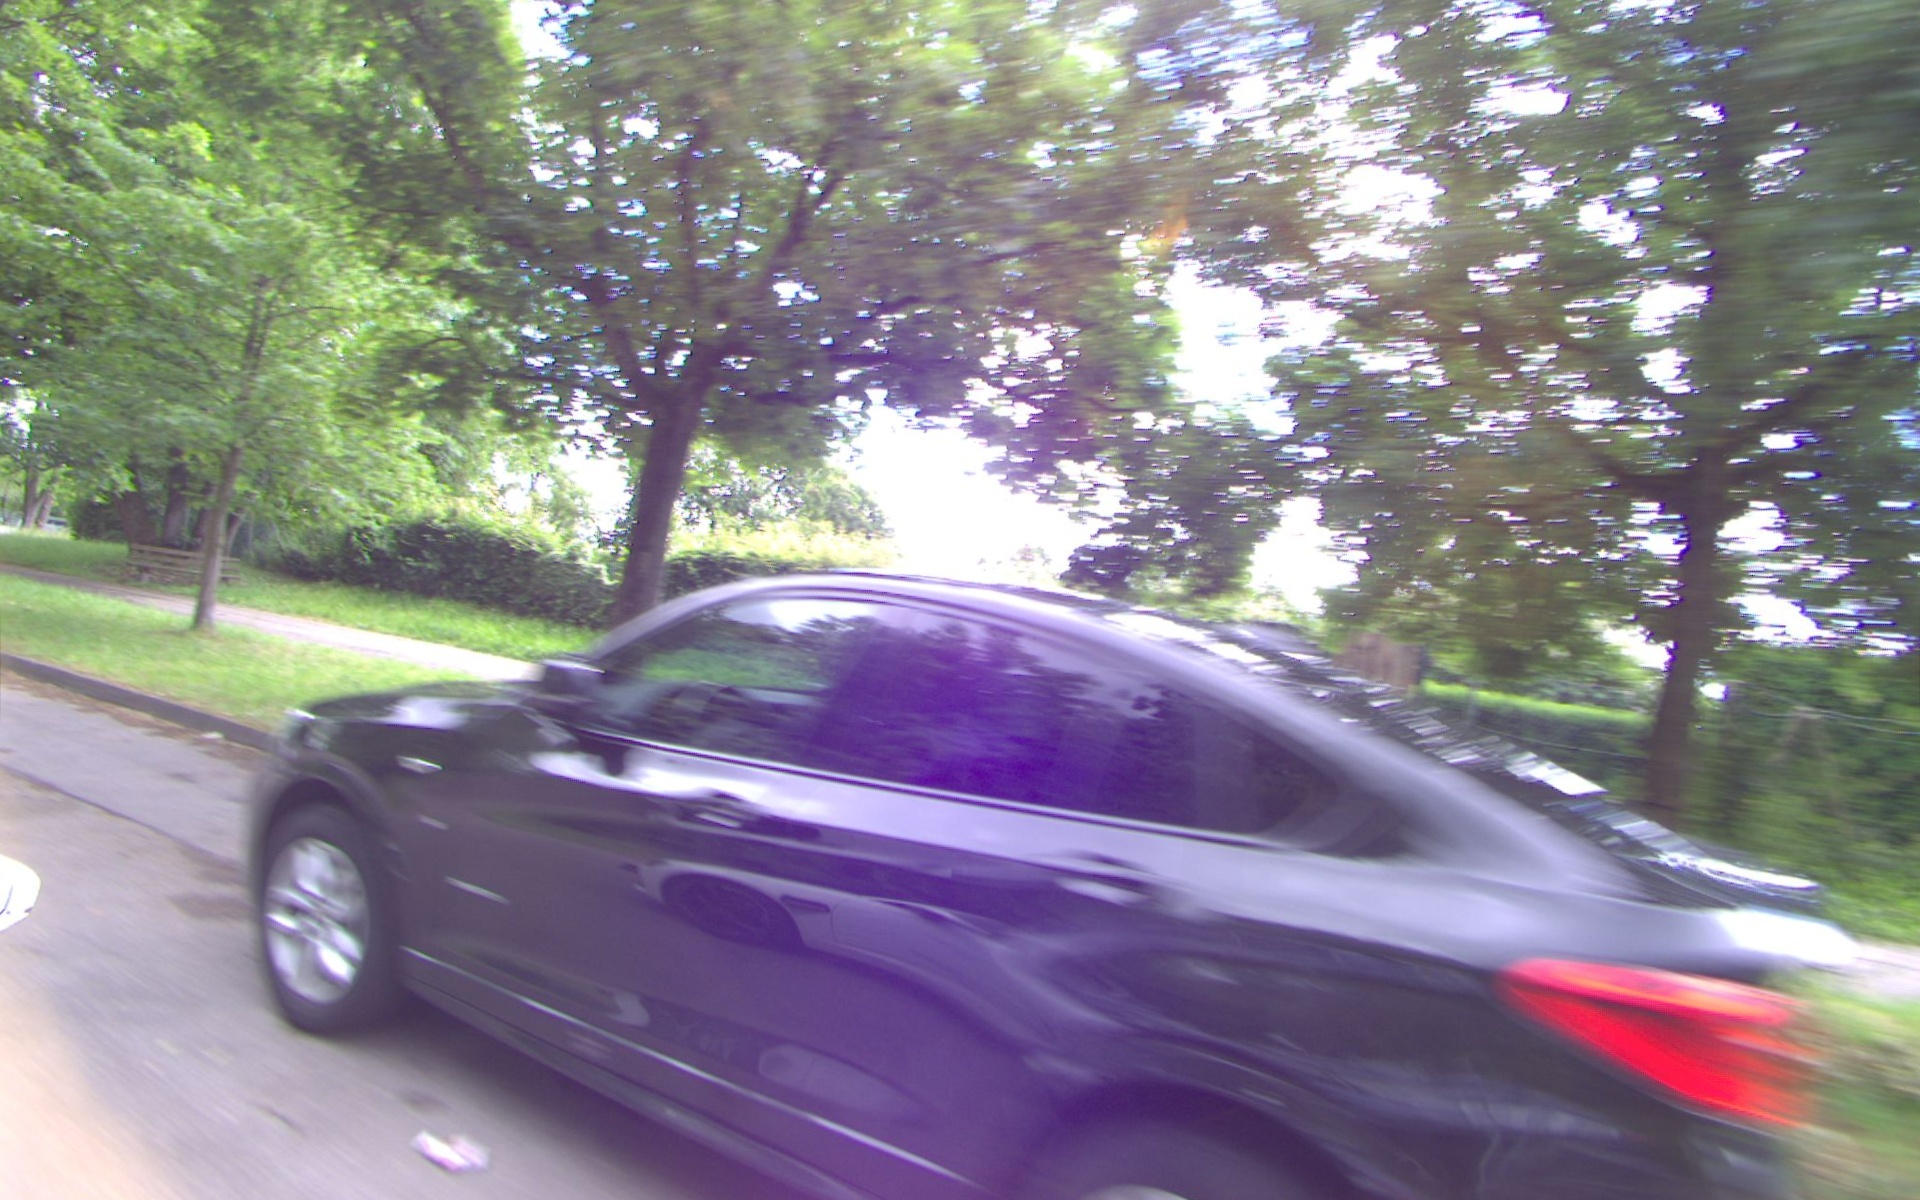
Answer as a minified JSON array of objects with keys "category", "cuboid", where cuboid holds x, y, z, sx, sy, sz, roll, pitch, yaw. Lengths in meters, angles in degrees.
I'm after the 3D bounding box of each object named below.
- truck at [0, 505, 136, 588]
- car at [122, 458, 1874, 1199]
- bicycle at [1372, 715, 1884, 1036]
[{"category":"truck","cuboid":[-56.664,-3.184,63.790,2.656,4.039,9.557,7,-4,-15]},{"category":"car","cuboid":[-0.408,0.659,3.208,4.452,1.662,1.853,7,-2,29]},{"category":"bicycle","cuboid":[3.462,1.376,5.451,2.147,1.228,0.536,5,-4,28]}]
